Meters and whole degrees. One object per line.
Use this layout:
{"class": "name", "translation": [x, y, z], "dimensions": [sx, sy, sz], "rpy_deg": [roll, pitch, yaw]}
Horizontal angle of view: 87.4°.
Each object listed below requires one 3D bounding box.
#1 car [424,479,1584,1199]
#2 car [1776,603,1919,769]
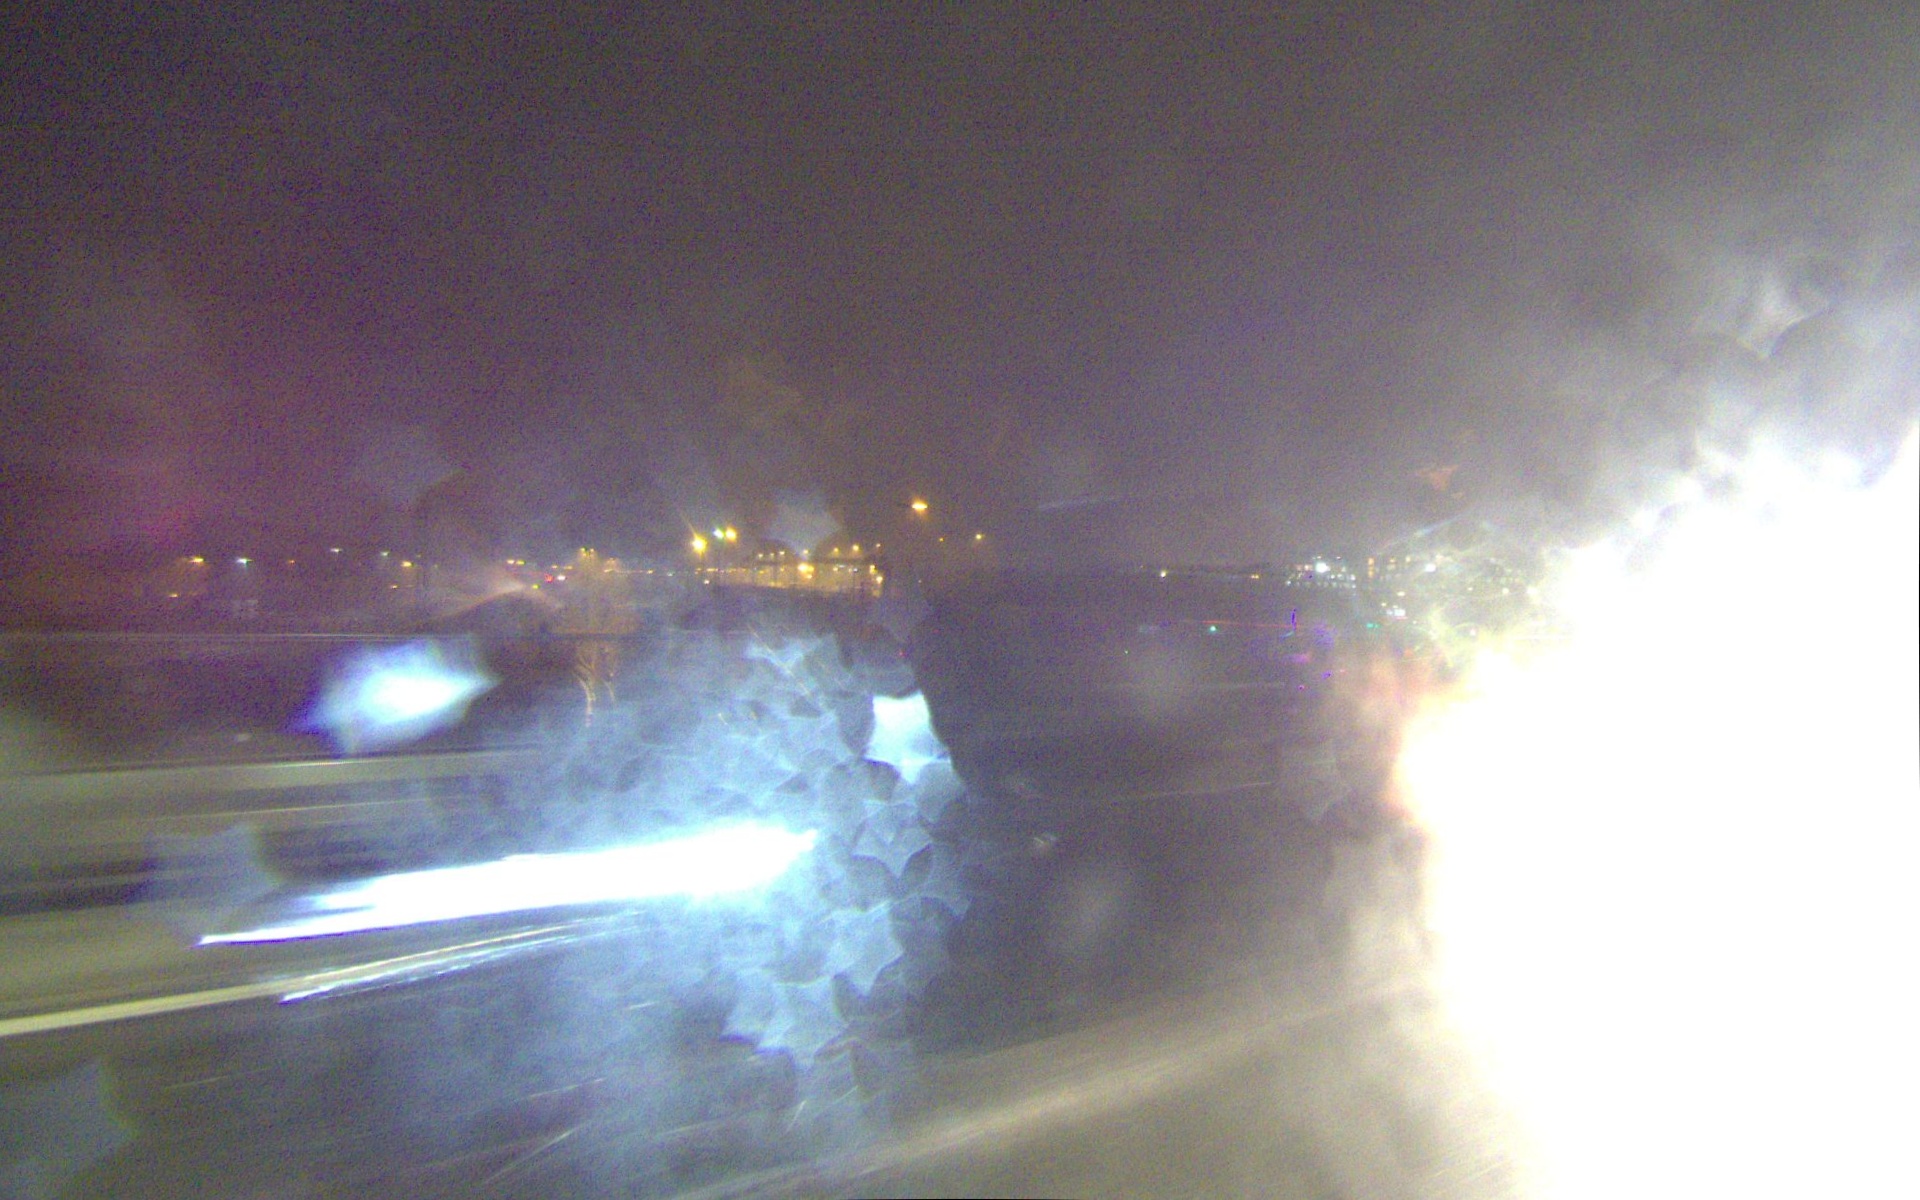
{"class": "car", "translation": [0.400, 0.682, 3.900], "dimensions": [4.266, 1.727, 1.769], "rpy_deg": [1, -2, -32]}
{"class": "car", "translation": [11.082, 0.874, 11.538], "dimensions": [3.955, 1.652, 1.779], "rpy_deg": [0, 0, -37]}
